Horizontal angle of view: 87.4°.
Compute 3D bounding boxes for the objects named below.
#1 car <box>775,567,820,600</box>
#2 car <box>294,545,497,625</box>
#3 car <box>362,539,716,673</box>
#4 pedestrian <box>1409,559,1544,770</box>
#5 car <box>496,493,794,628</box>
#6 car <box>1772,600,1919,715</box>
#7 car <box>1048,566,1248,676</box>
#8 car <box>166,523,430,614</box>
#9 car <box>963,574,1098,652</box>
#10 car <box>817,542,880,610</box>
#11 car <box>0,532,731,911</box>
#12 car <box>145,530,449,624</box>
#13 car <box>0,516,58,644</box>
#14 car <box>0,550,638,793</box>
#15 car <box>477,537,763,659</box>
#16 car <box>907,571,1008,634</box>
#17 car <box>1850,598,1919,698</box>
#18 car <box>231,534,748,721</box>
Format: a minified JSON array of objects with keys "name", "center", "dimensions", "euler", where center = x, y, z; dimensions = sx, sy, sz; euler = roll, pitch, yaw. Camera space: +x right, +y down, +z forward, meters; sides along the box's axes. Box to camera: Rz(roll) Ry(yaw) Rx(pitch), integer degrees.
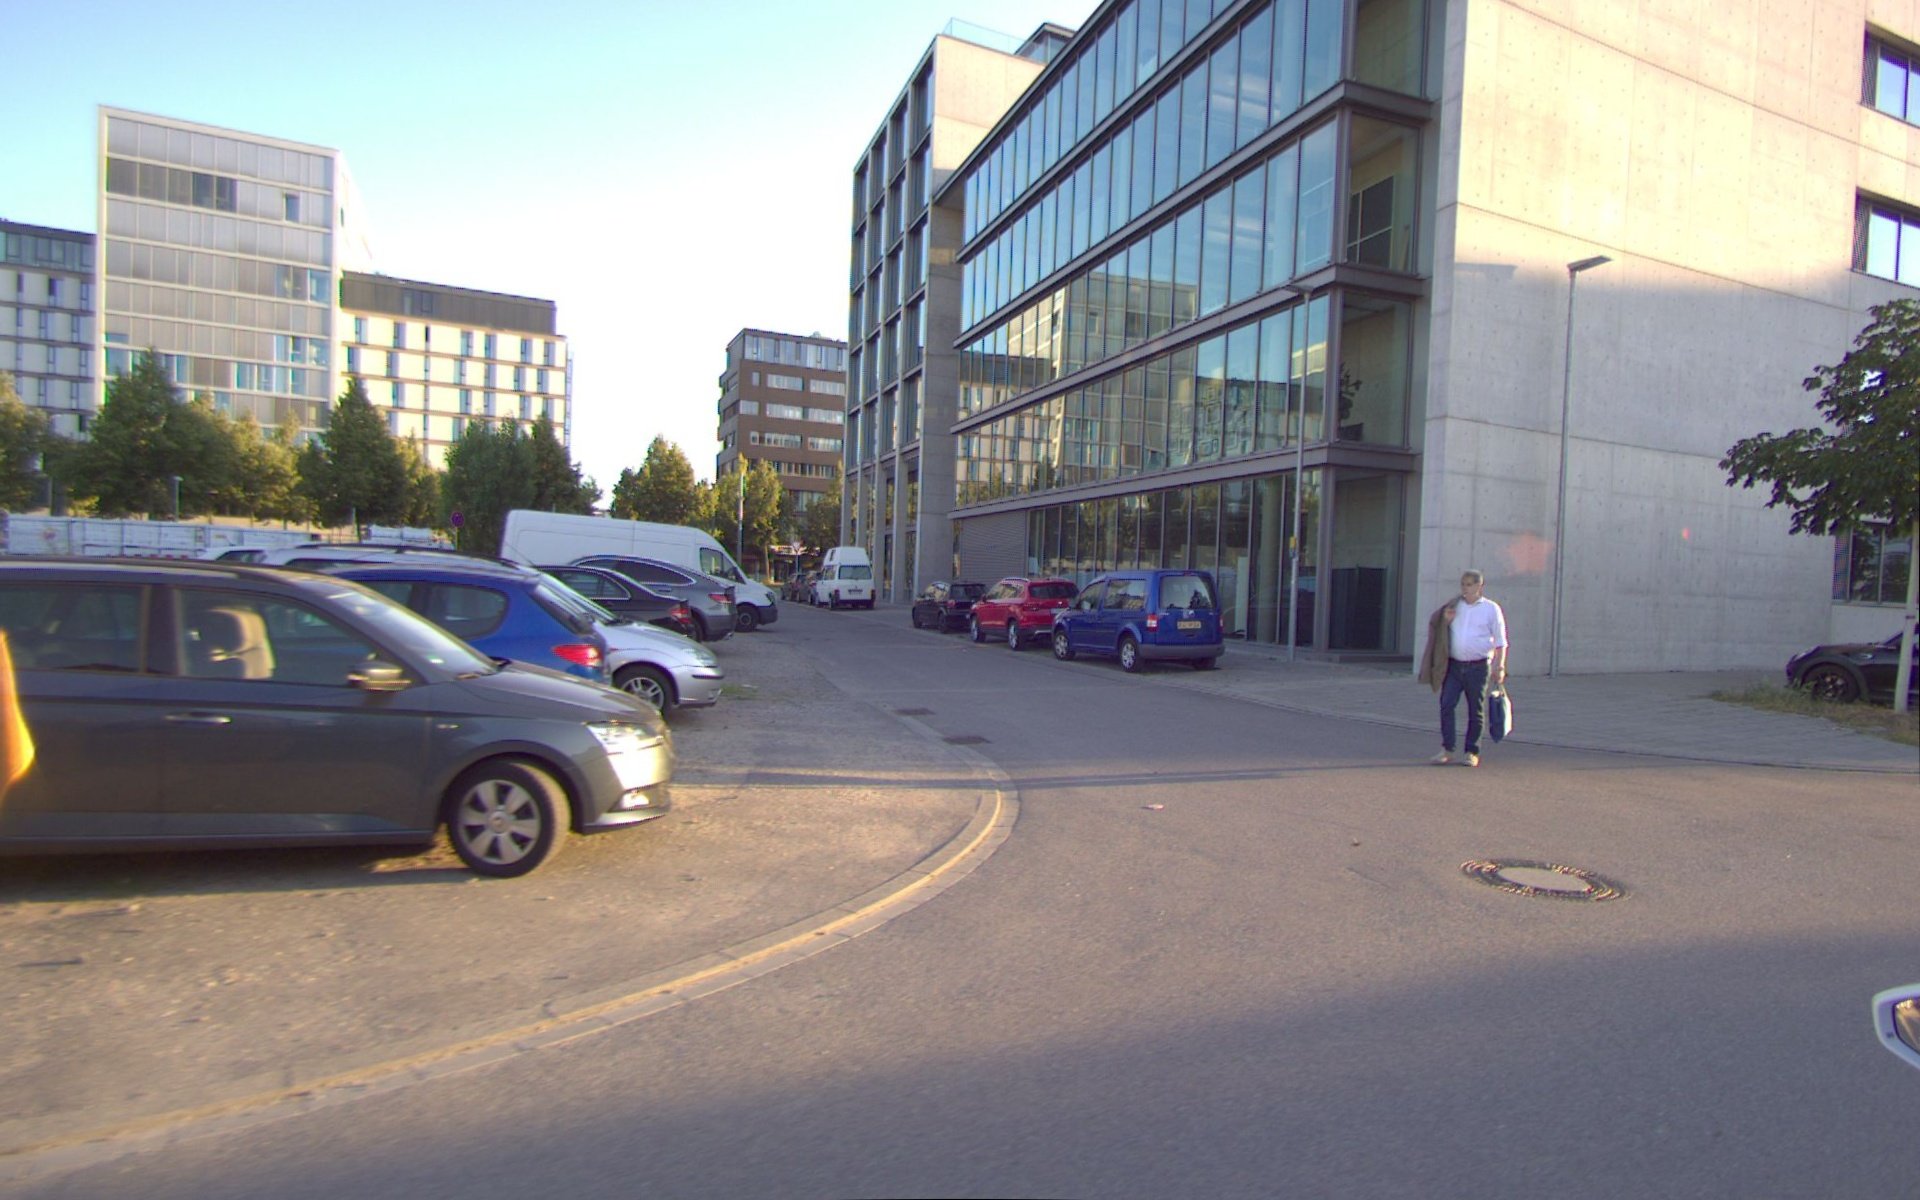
[{"name":"car","center":[-8.476,-0.879,52.094],"dimensions":[1.653,1.593,3.699],"euler":[-2,3,-19]},{"name":"car","center":[-14.505,-0.395,26.106],"dimensions":[4.347,1.642,1.658],"euler":[5,1,-25]},{"name":"car","center":[-5.907,0.102,14.436],"dimensions":[4.347,1.499,1.658],"euler":[5,1,-25]},{"name":"pedestrian","center":[4.830,0.567,9.464],"dimensions":[0.884,1.875,0.857],"euler":[1,1,11]},{"name":"car","center":[-7.947,-0.916,25.669],"dimensions":[6.886,2.839,2.201],"euler":[3,1,-23]},{"name":"car","center":[14.134,0.847,14.184],"dimensions":[1.746,1.502,3.721],"euler":[0,3,-26]},{"name":"car","center":[3.407,0.286,19.030],"dimensions":[1.821,1.856,4.077],"euler":[-1,2,-22]},{"name":"car","center":[-13.601,-0.632,20.961],"dimensions":[4.345,1.643,1.658],"euler":[2,2,-25]},{"name":"car","center":[1.576,0.229,23.989],"dimensions":[1.750,1.652,4.036],"euler":[-1,2,-19]},{"name":"car","center":[-4.766,-1.022,42.447],"dimensions":[1.928,2.689,4.040],"euler":[-1,2,-17]},{"name":"car","center":[-3.498,0.496,5.161],"dimensions":[4.297,1.539,1.683],"euler":[2,2,-22]},{"name":"car","center":[-11.758,-0.402,18.182],"dimensions":[4.345,1.520,1.658],"euler":[1,3,-25]},{"name":"car","center":[-11.671,-0.251,11.213],"dimensions":[1.495,1.467,3.425],"euler":[1,2,-26]},{"name":"car","center":[-4.377,0.446,7.395],"dimensions":[3.669,1.441,1.658],"euler":[2,1,-23]},{"name":"car","center":[-5.760,-0.019,17.190],"dimensions":[4.347,1.642,1.658],"euler":[5,1,-25]},{"name":"car","center":[-0.143,-0.001,29.696],"dimensions":[1.750,1.633,4.036],"euler":[-2,3,-19]},{"name":"car","center":[16.588,0.863,15.323],"dimensions":[1.822,1.549,4.070],"euler":[1,2,-27]},{"name":"car","center":[-4.332,0.279,9.793],"dimensions":[4.145,1.499,1.658],"euler":[3,2,-23]}]
